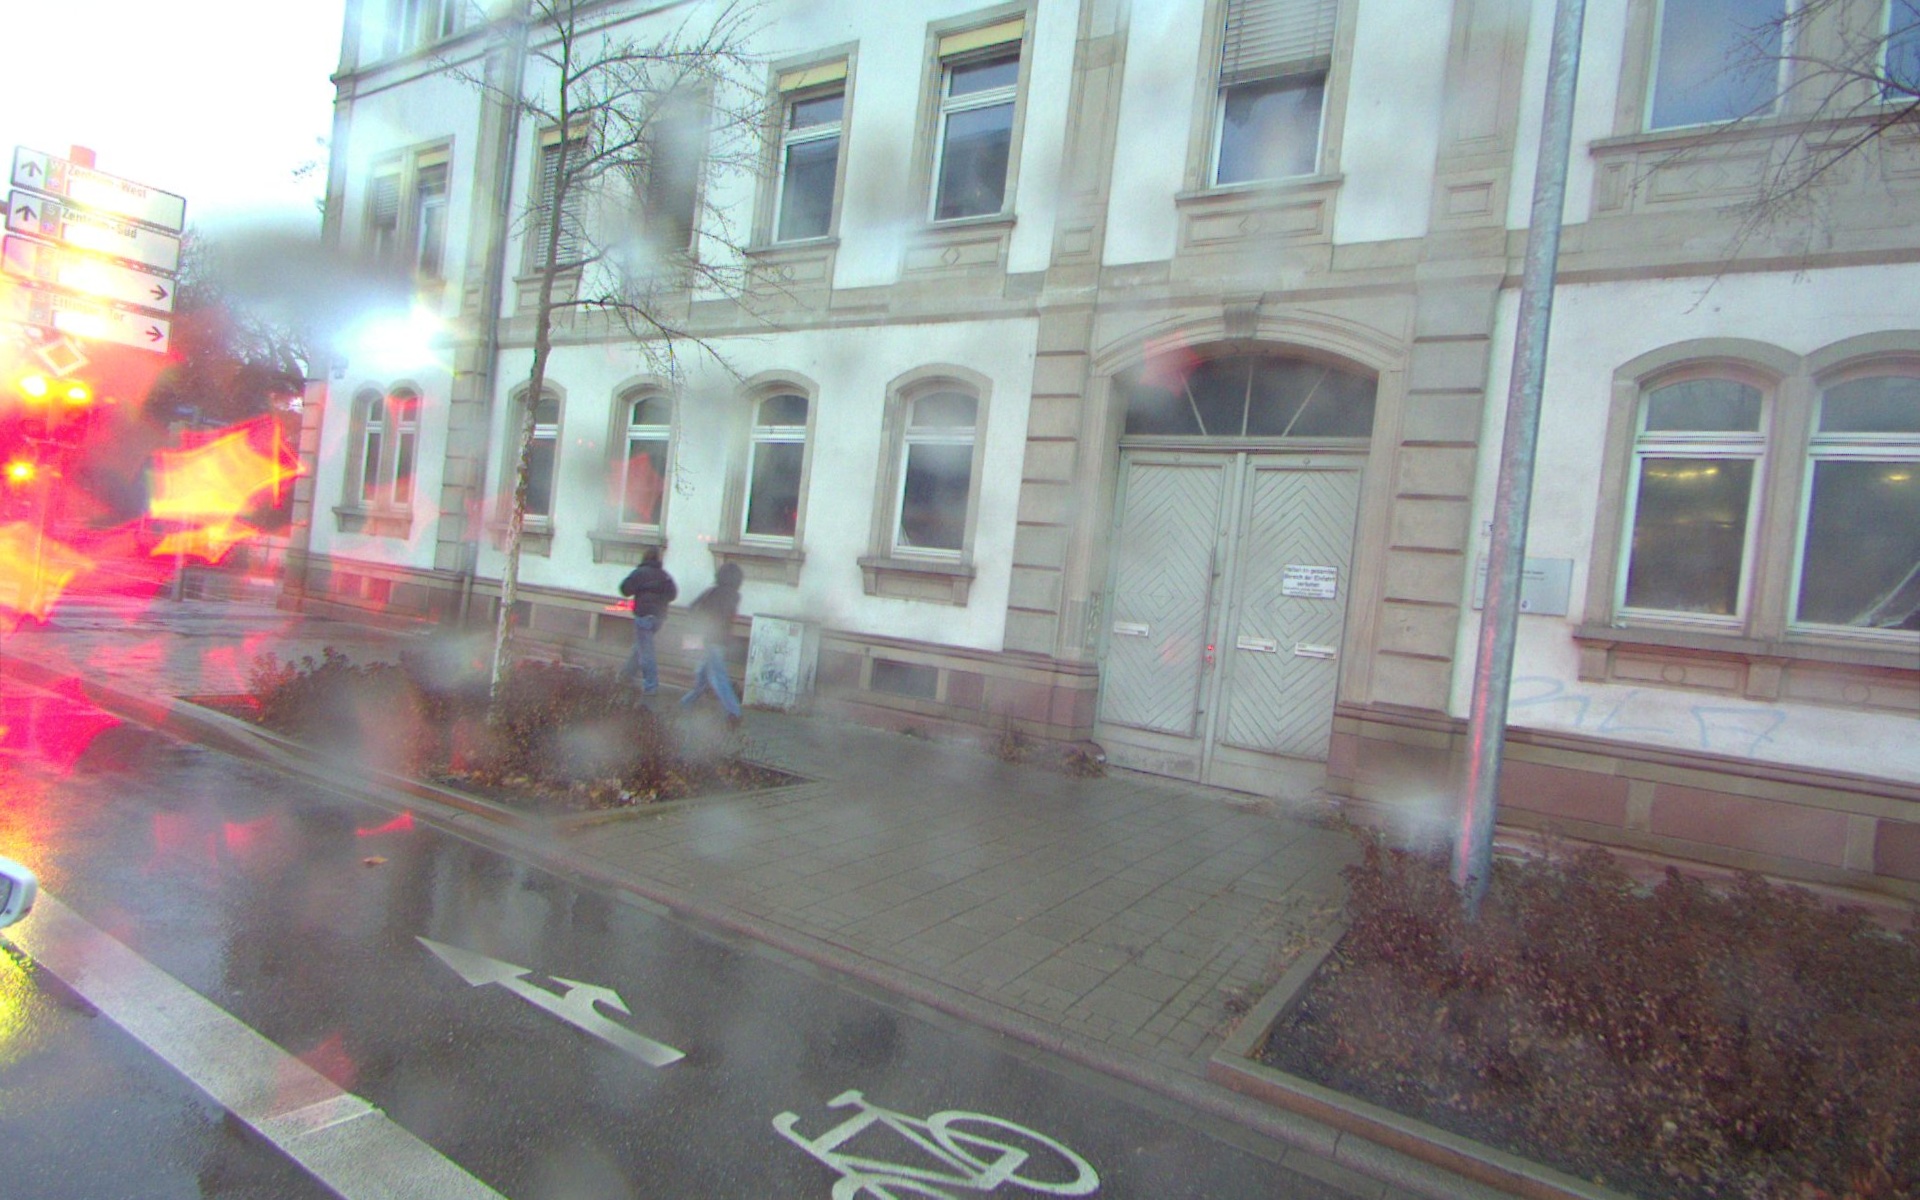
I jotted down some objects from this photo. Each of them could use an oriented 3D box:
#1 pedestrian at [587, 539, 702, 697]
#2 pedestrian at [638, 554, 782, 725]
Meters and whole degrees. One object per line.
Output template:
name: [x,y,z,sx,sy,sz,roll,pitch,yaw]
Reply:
pedestrian: [-3.637,0.218,11.627,0.695,1.694,0.869,7,1,31]
pedestrian: [-2.498,0.391,10.102,0.914,1.564,0.869,7,1,32]
